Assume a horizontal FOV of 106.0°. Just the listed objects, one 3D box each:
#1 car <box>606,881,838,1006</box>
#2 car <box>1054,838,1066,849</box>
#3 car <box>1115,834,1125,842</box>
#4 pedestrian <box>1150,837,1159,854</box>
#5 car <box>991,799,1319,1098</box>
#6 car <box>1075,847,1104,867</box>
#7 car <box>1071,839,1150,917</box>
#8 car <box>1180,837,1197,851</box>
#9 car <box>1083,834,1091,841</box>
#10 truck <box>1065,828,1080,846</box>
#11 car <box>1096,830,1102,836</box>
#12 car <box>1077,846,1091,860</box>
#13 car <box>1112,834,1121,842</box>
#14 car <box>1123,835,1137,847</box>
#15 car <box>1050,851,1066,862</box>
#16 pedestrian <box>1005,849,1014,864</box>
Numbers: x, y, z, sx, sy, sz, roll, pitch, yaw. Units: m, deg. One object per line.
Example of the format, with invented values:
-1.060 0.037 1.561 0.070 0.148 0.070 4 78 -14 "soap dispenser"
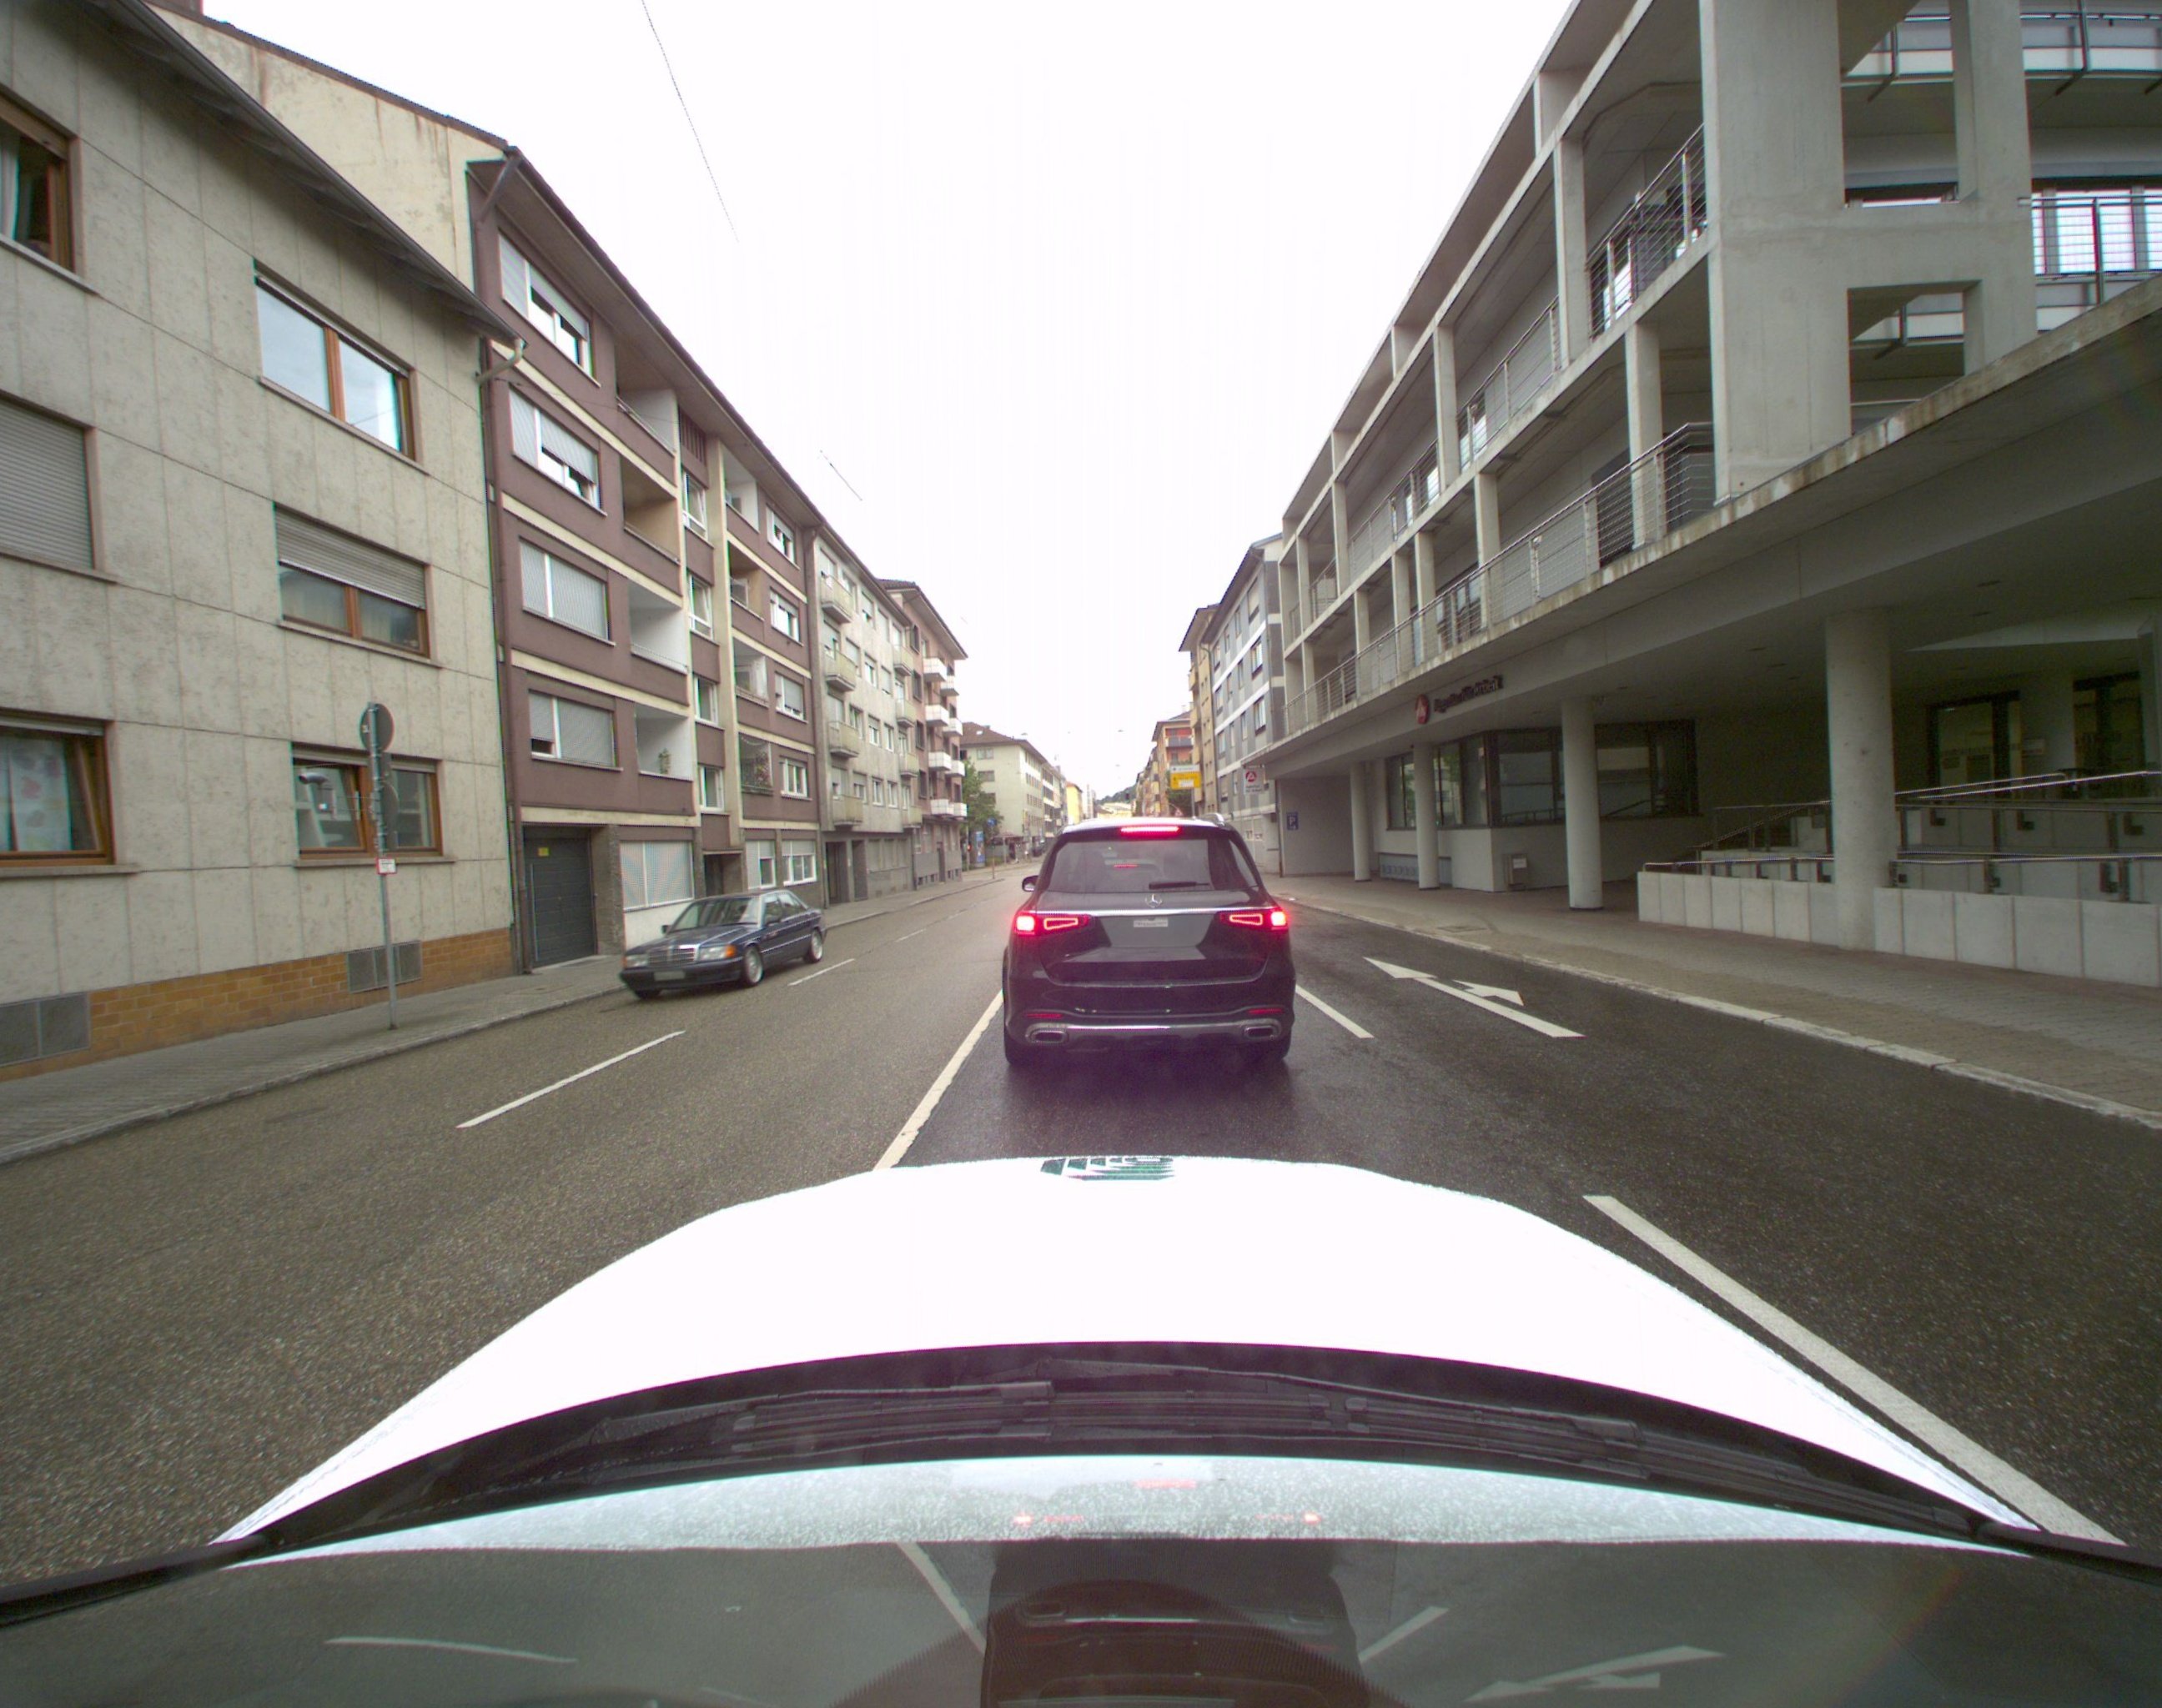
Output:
-5.423 1.264 13.008 1.593 1.370 4.362 -6 0 1 "car"
-3.384 -1.706 131.945 1.613 1.539 4.217 -4 1 0 "car"
7.721 -3.185 162.720 1.613 1.387 4.216 -4 -1 0 "car"
9.050 -1.046 100.222 0.920 2.013 0.706 -3 0 0 "pedestrian"
0.514 0.592 7.135 1.977 1.805 4.391 0 -1 2 "car"
0.735 0.292 71.731 1.619 1.539 4.201 -4 -1 -11 "car"
0.671 0.577 20.956 1.746 1.731 4.216 -3 -1 0 "car"
12.481 -1.165 94.536 1.664 1.588 3.334 -3 0 4 "car"
1.456 -3.943 193.968 1.613 1.539 4.216 -4 -1 0 "car"
-1.597 -3.169 157.369 2.472 3.046 9.917 -4 -1 0 "truck"
5.551 -6.360 250.517 1.613 1.539 4.216 -4 -1 0 "car"
0.386 -0.137 101.428 1.613 1.539 4.216 -4 -1 0 "car"
7.569 -3.436 175.336 1.613 1.539 4.216 -4 -1 0 "car"
7.644 -2.054 126.785 1.718 1.759 4.217 -4 1 0 "car"
-2.914 0.331 102.854 1.879 1.264 4.216 -5 -1 0 "car"
-8.939 0.327 102.233 0.920 1.902 0.706 -3 0 0 "pedestrian"
